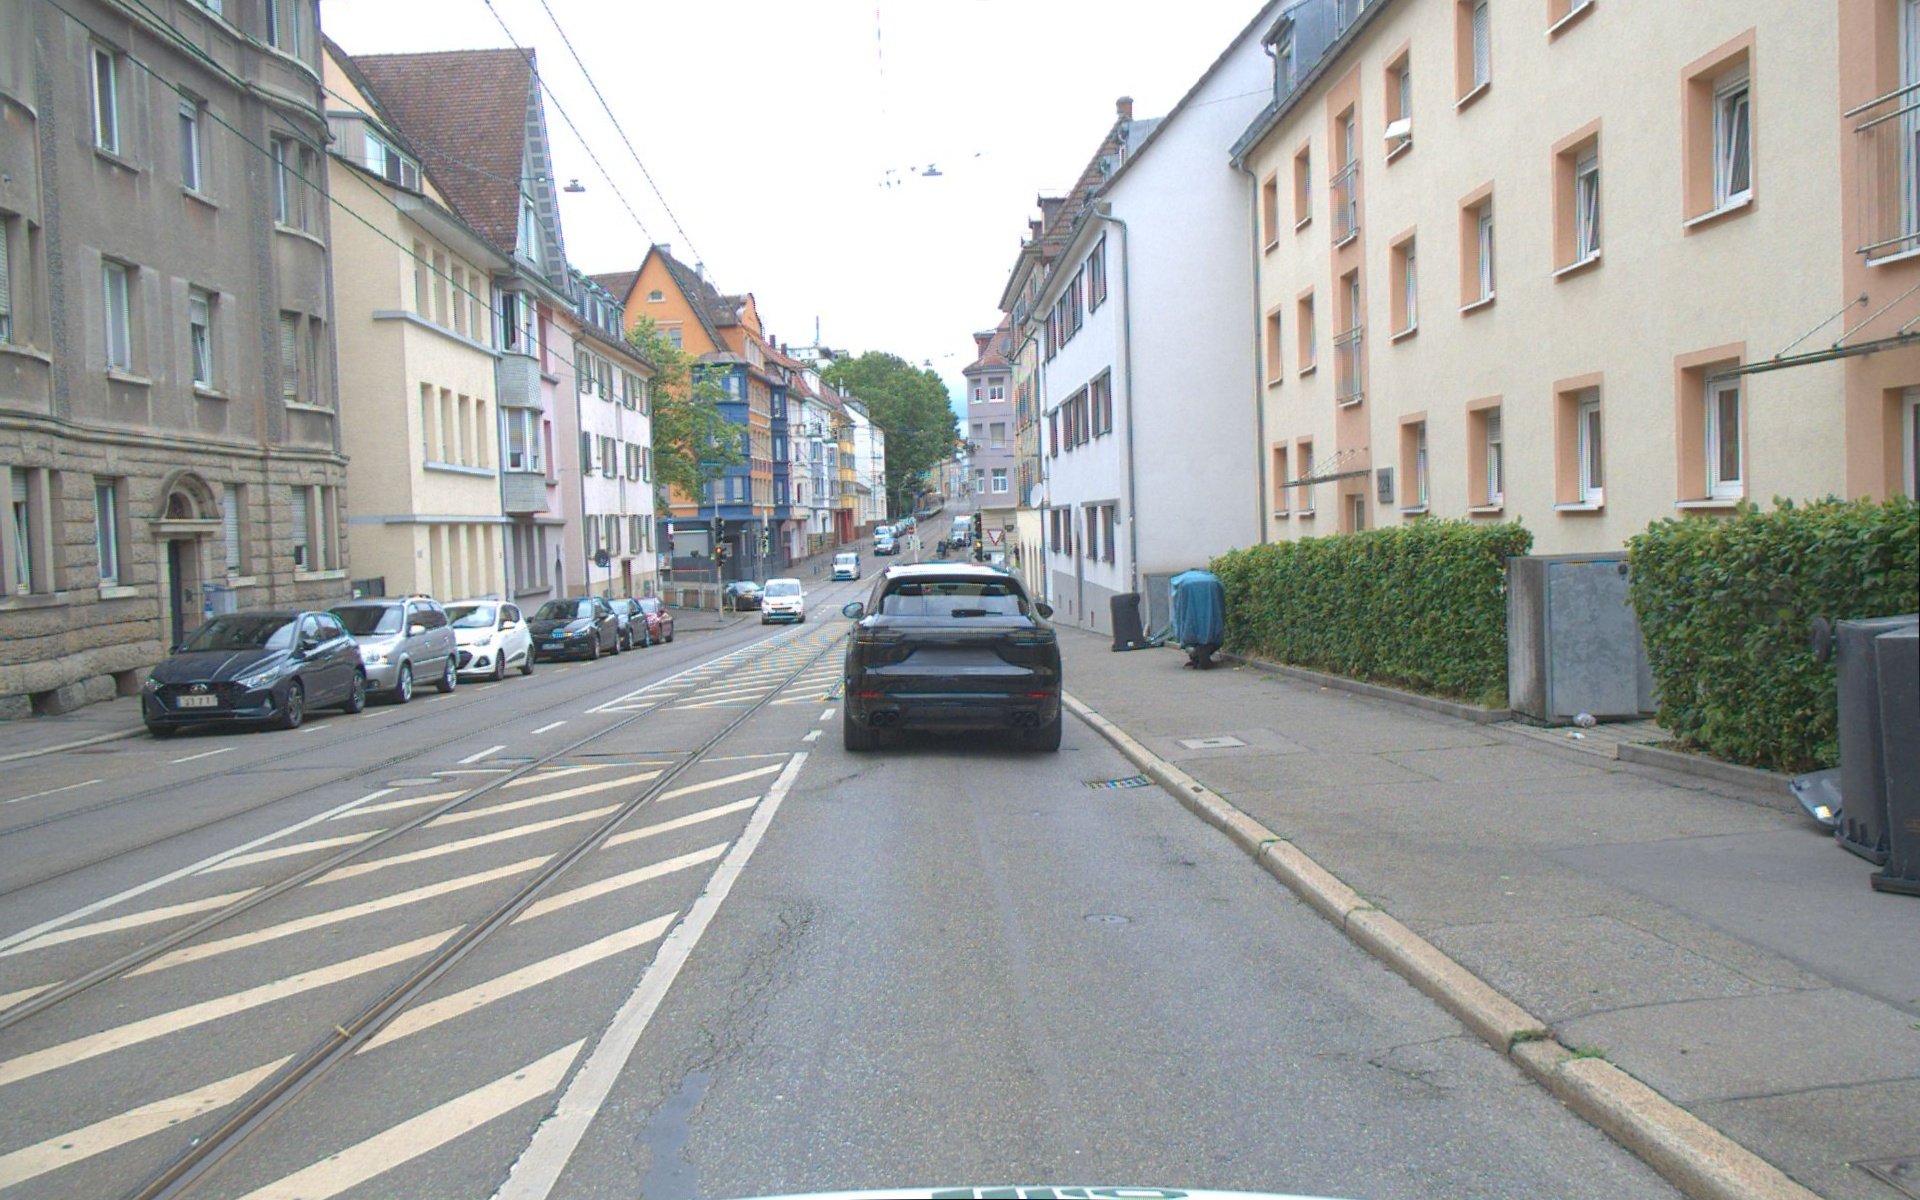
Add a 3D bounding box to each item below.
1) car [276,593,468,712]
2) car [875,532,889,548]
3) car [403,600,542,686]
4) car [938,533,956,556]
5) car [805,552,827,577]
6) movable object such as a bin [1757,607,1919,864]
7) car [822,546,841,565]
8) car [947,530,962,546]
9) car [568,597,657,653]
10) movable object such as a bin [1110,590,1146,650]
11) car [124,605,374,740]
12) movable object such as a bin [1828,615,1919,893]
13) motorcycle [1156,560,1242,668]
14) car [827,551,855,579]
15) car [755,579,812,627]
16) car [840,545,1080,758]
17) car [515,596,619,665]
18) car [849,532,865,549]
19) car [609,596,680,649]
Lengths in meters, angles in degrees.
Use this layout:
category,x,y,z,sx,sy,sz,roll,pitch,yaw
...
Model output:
category,x,y,z,sx,sy,sz,roll,pitch,yaw
car,-9.121,0.777,26.020,1.588,1.632,4.348,-3,0,-3
car,-8.300,-6.378,176.294,1.366,1.476,3.358,-2,0,-1
car,-9.310,0.792,31.843,1.588,1.488,3.684,-3,0,-1
car,-1.109,-4.637,138.905,1.366,1.752,3.358,-2,0,-1
car,-10.873,-2.665,125.420,1.366,1.752,3.358,-2,0,-1
movable object such as a bin,4.083,0.563,7.240,0.775,1.029,0.789,-2,0,0
car,-10.744,-3.679,138.291,1.366,1.476,3.358,-2,0,-1
car,-0.551,-6.169,164.620,1.366,1.476,3.358,-2,0,-1
car,-9.737,0.661,46.632,1.701,1.434,3.999,-2,0,-1
movable object such as a bin,3.175,0.377,31.328,0.576,1.098,0.692,-2,0,0
car,-9.007,0.864,21.314,1.588,1.488,4.030,-3,0,-3
movable object such as a bin,3.984,0.578,6.402,0.776,1.029,0.788,-2,0,-5
motorcycle,3.503,0.195,24.503,0.821,1.482,2.552,-2,0,-1
car,-8.356,-2.461,116.468,1.715,1.790,4.253,-2,0,-1
car,-7.300,0.124,68.804,1.882,1.850,4.217,-2,0,0
car,-0.064,0.423,15.853,1.953,1.705,3.998,-2,0,-2
car,-9.493,0.709,40.246,1.588,1.499,4.553,-3,0,-3
car,-9.911,-5.707,159.496,1.366,1.476,3.358,-2,0,-1
car,-9.862,0.691,51.914,1.588,1.516,4.045,-3,0,-3
